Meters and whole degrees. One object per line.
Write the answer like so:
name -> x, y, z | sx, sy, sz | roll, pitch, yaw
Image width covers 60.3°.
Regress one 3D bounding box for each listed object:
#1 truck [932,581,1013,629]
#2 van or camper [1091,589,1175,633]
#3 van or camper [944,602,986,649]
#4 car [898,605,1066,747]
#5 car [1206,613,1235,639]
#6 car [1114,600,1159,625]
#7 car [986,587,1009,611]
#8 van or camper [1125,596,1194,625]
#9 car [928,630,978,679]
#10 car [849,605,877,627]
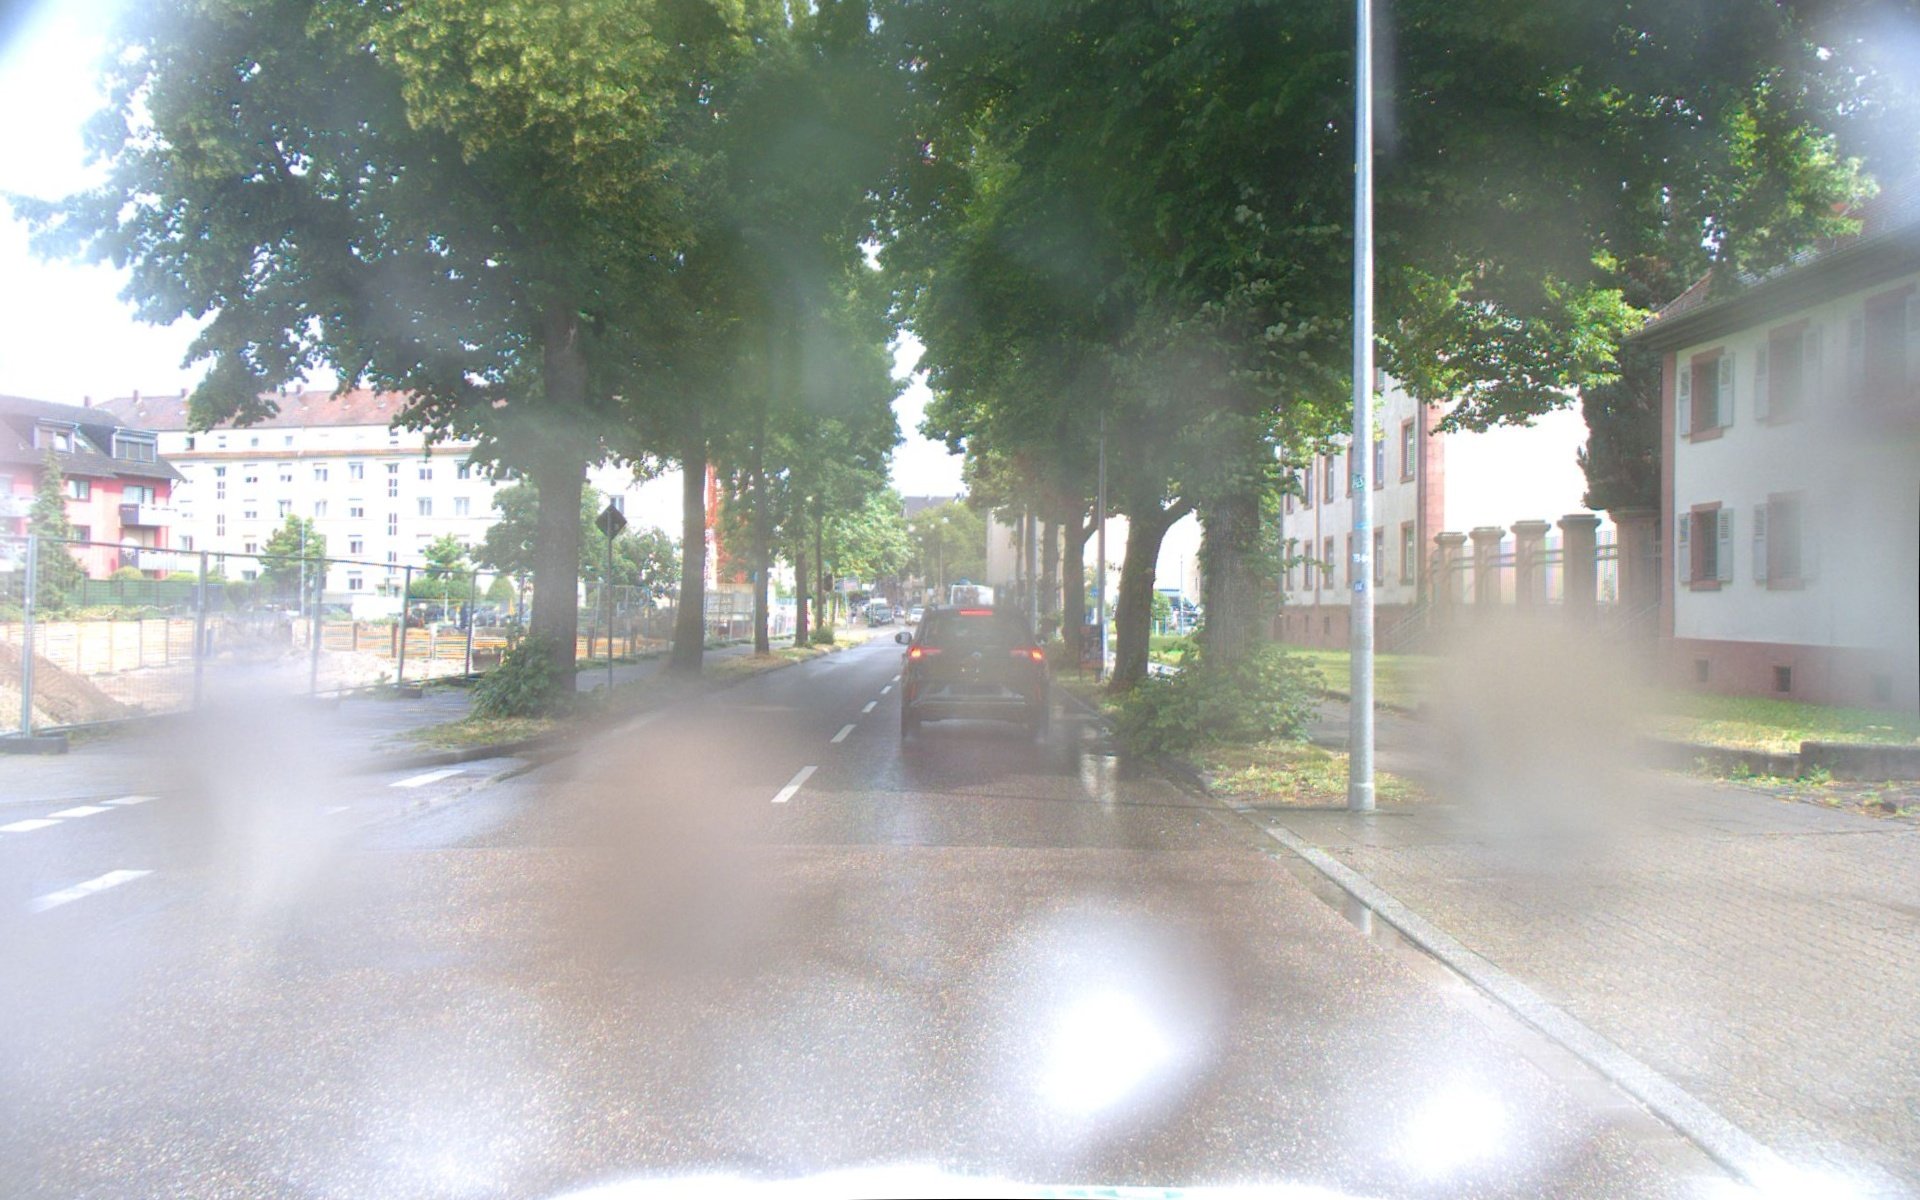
truck -> 0.667, 0.252, 99.709 | 2.759, 2.703, 8.208 | 1, 0, -15
van or camper -> 10.688, 0.680, 102.629 | 4.930, 2.641, 2.167 | 0, -1, -1
van or camper -> 0.247, 1.106, 73.806 | 1.782, 1.982, 4.195 | 1, 0, 1
car -> 0.270, 0.860, 20.500 | 1.856, 1.549, 4.000 | 1, 0, 0
car -> 18.201, 1.786, 115.667 | 1.706, 1.713, 3.873 | -3, -1, 6
car -> 13.851, 0.969, 129.548 | 3.334, 1.812, 1.761 | -3, -1, 9
car -> 3.342, -0.096, 148.034 | 1.952, 2.049, 4.000 | -1, -1, 1
van or camper -> 14.429, 0.752, 119.816 | 4.774, 1.959, 2.131 | 1, 0, 0
car -> -0.231, 2.046, 63.157 | 1.644, 1.738, 3.911 | -2, -1, 3
car -> -7.495, 1.221, 128.295 | 1.557, 1.538, 3.734 | -3, 0, 6
